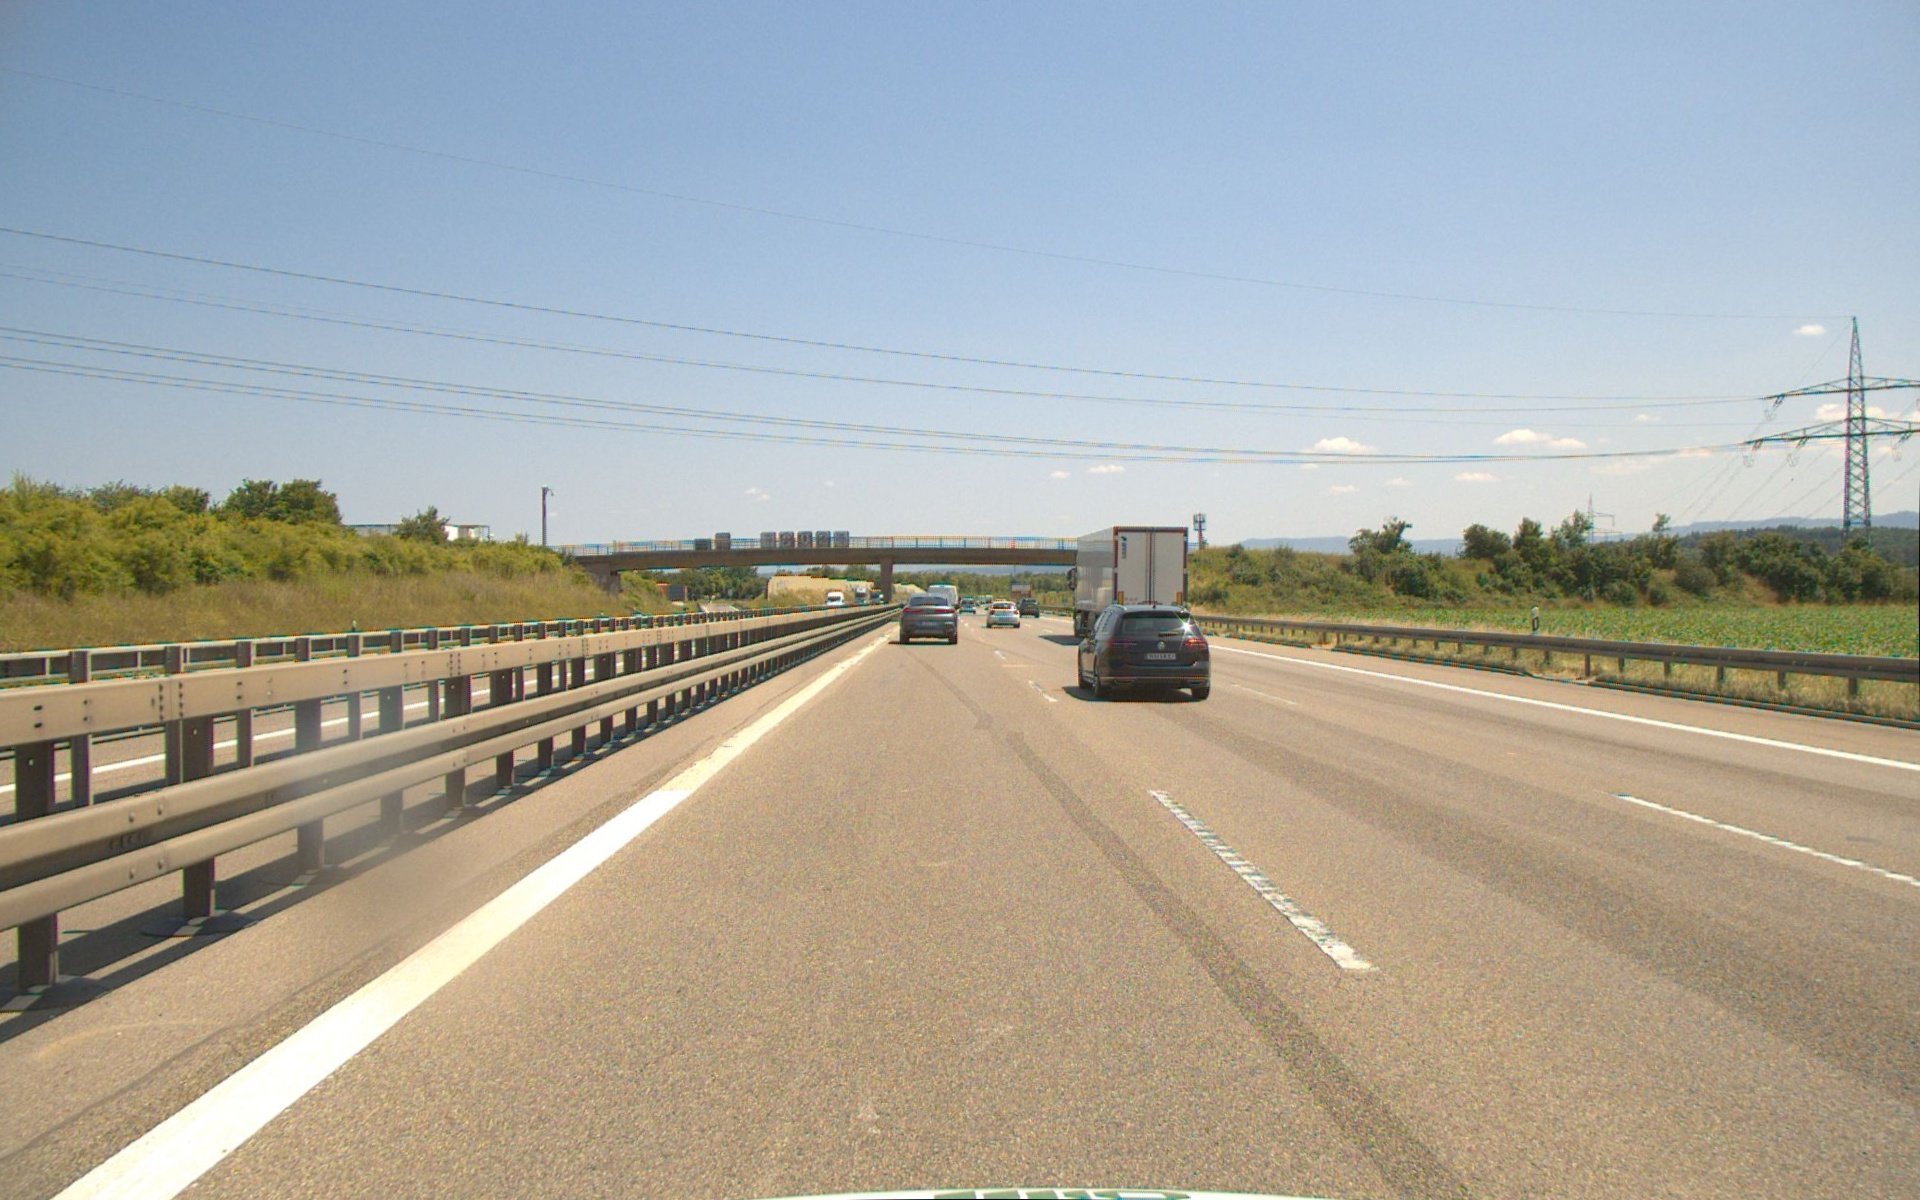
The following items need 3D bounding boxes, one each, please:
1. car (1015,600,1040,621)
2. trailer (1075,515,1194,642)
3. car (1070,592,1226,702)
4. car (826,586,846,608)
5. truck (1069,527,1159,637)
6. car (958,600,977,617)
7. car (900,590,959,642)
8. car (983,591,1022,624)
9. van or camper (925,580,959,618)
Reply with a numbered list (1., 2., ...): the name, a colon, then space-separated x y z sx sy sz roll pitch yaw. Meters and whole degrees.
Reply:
1. car: 5.819 0.897 142.555 1.953 1.712 3.999 1 0 -1
2. trailer: 6.358 -0.716 62.558 2.883 4.271 13.594 1 0 -1
3. car: 2.962 0.703 27.084 1.894 1.602 4.933 1 0 -1
4. car: -15.402 -0.409 205.816 1.991 2.651 7.599 1 0 -1
5. truck: 6.293 -0.692 68.847 2.918 4.301 7.686 1 0 -1
6. car: 0.772 0.891 177.143 1.953 1.712 3.999 1 0 -1
7. car: -1.075 0.517 56.225 1.814 1.693 3.732 1 0 -4
8. car: 2.306 0.398 90.356 1.953 1.712 3.999 1 0 -1
9. van or camper: -1.137 -0.066 103.461 2.067 2.250 5.264 1 0 -1
